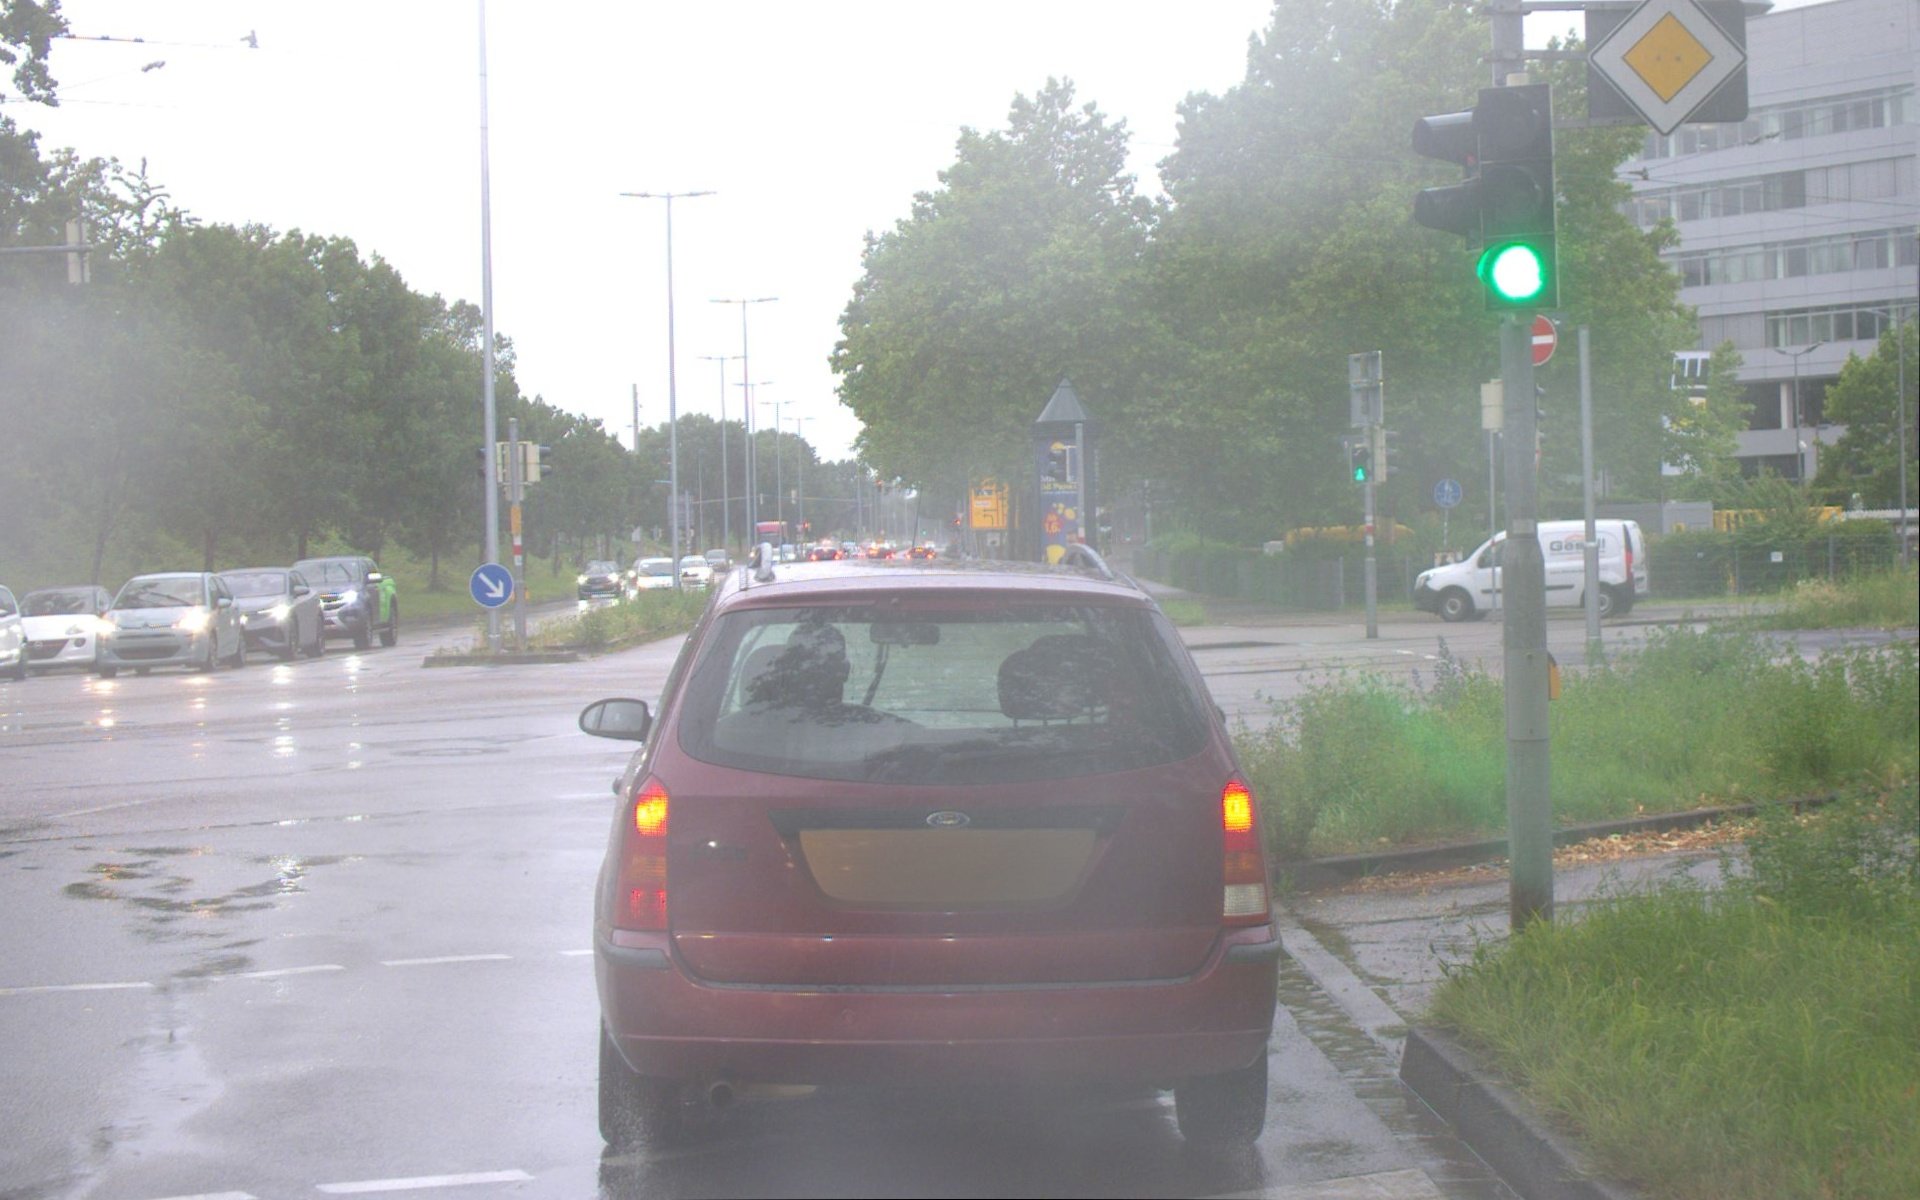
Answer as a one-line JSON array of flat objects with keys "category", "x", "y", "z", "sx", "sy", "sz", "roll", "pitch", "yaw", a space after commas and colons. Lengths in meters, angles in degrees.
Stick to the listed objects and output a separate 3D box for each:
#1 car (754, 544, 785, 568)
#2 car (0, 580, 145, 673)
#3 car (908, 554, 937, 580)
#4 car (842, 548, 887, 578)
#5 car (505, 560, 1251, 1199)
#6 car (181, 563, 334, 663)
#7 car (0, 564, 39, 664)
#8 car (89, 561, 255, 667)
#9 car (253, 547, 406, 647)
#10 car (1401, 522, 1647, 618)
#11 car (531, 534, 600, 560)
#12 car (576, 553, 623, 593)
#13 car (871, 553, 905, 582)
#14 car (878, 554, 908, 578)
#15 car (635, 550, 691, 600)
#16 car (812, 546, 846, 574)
[{"category": "car", "x": -13.369, "y": -3.106, "z": 241.162, "sx": 1.963, "sy": 1.591, "sz": 4.284, "roll": -2, "pitch": 1, "yaw": -1}, {"category": "car", "x": -14.726, "y": 0.413, "z": 57.003, "sx": 1.590, "sy": 1.399, "sz": 3.823, "roll": -2, "pitch": 1, "yaw": -2}, {"category": "car", "x": -2.312, "y": -2.045, "z": 212.540, "sx": 1.671, "sy": 1.522, "sz": 3.846, "roll": -1, "pitch": 1, "yaw": 1}, {"category": "car", "x": -5.052, "y": -1.964, "z": 182.983, "sx": 2.147, "sy": 1.522, "sz": 4.192, "roll": -1, "pitch": 1, "yaw": 1}, {"category": "car", "x": -0.240, "y": 0.636, "z": 9.527, "sx": 1.642, "sy": 1.460, "sz": 3.733, "roll": 1, "pitch": 1, "yaw": -2}, {"category": "car", "x": -11.969, "y": 0.212, "z": 58.857, "sx": 1.762, "sy": 1.580, "sz": 4.814, "roll": -2, "pitch": 0, "yaw": -2}, {"category": "car", "x": -14.821, "y": 0.223, "z": 50.614, "sx": 1.638, "sy": 1.447, "sz": 3.788, "roll": -2, "pitch": 1, "yaw": -3}, {"category": "car", "x": -11.811, "y": 0.175, "z": 51.733, "sx": 1.638, "sy": 1.468, "sz": 3.965, "roll": -2, "pitch": 1, "yaw": -1}, {"category": "car", "x": -12.229, "y": -0.094, "z": 67.013, "sx": 2.065, "sy": 1.813, "sz": 5.542, "roll": -2, "pitch": 1, "yaw": -2}, {"category": "car", "x": 10.401, "y": -0.565, "z": 63.366, "sx": 4.234, "sy": 1.720, "sz": 1.740, "roll": 0, "pitch": 1, "yaw": 19}, {"category": "car", "x": -27.423, "y": -3.686, "z": 238.965, "sx": 4.271, "sy": 1.591, "sz": 1.969, "roll": -3, "pitch": 1, "yaw": -36}, {"category": "car", "x": -15.998, "y": -1.209, "z": 152.724, "sx": 1.743, "sy": 1.696, "sz": 4.284, "roll": 1, "pitch": 1, "yaw": -2}, {"category": "car", "x": -3.954, "y": -1.798, "z": 189.563, "sx": 1.698, "sy": 1.522, "sz": 3.846, "roll": -1, "pitch": 1, "yaw": 0}, {"category": "car", "x": -4.403, "y": -2.220, "z": 226.347, "sx": 1.671, "sy": 1.522, "sz": 3.845, "roll": -1, "pitch": 1, "yaw": 4}, {"category": "car", "x": -10.845, "y": -0.926, "z": 125.882, "sx": 1.743, "sy": 1.696, "sz": 4.284, "roll": -3, "pitch": 1, "yaw": -2}, {"category": "car", "x": -7.536, "y": -2.299, "z": 198.316, "sx": 1.698, "sy": 1.522, "sz": 3.846, "roll": -1, "pitch": 1, "yaw": 1}]
